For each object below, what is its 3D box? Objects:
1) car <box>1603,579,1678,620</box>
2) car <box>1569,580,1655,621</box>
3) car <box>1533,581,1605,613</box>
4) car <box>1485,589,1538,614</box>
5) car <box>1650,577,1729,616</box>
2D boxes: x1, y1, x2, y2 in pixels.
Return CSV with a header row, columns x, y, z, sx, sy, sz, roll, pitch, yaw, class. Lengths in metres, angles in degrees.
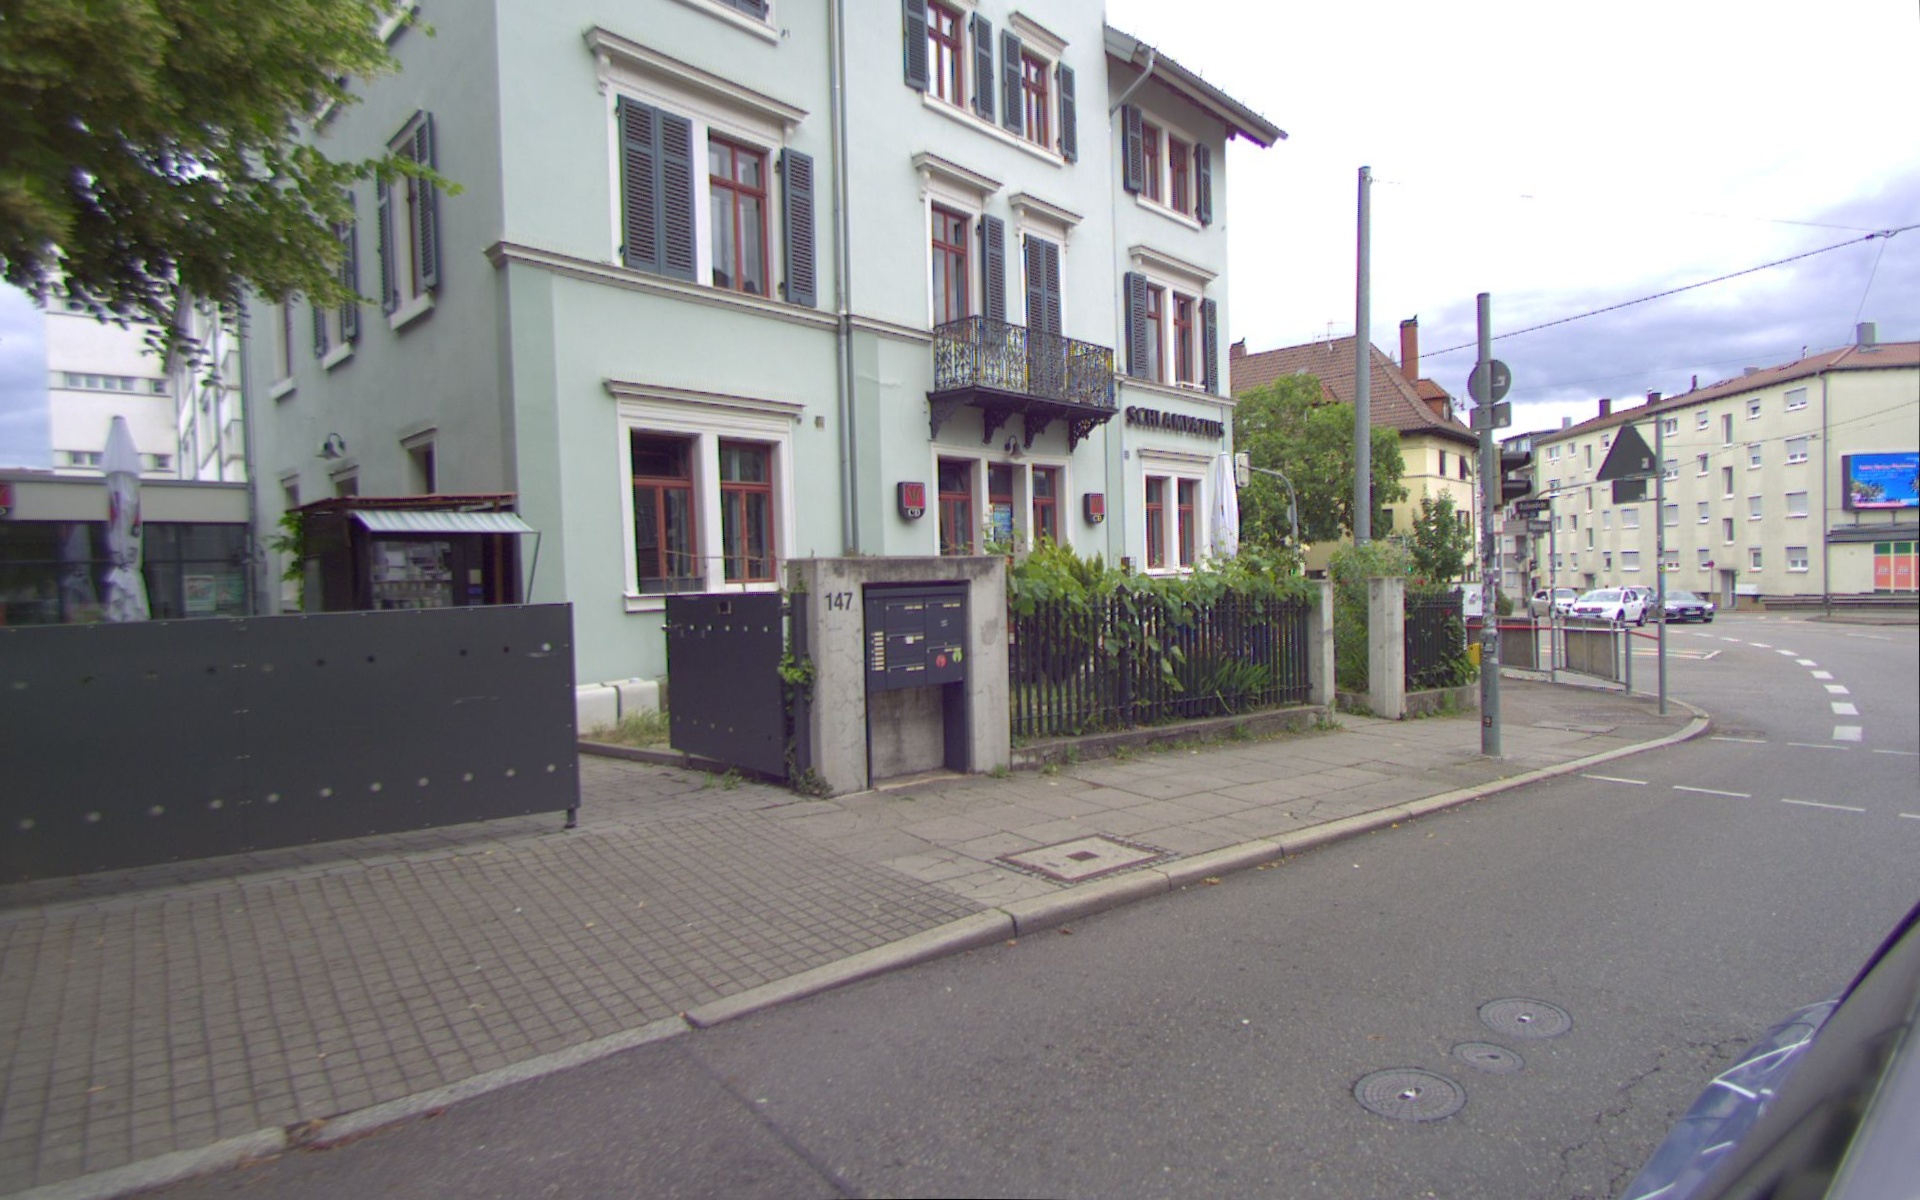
x,y,z,sx,sy,sz,roll,pitch,yaw,class
36.108,-0.061,53.825,1.971,2.039,4.251,-2,1,15,car
25.245,0.036,39.155,3.822,1.498,1.905,0,-1,-43,car
31.440,-0.128,52.396,1.924,1.570,4.021,0,0,12,car
35.564,0.112,65.369,1.924,1.570,4.021,0,0,12,car
30.679,-0.120,42.706,2.019,1.570,3.999,0,0,26,car
